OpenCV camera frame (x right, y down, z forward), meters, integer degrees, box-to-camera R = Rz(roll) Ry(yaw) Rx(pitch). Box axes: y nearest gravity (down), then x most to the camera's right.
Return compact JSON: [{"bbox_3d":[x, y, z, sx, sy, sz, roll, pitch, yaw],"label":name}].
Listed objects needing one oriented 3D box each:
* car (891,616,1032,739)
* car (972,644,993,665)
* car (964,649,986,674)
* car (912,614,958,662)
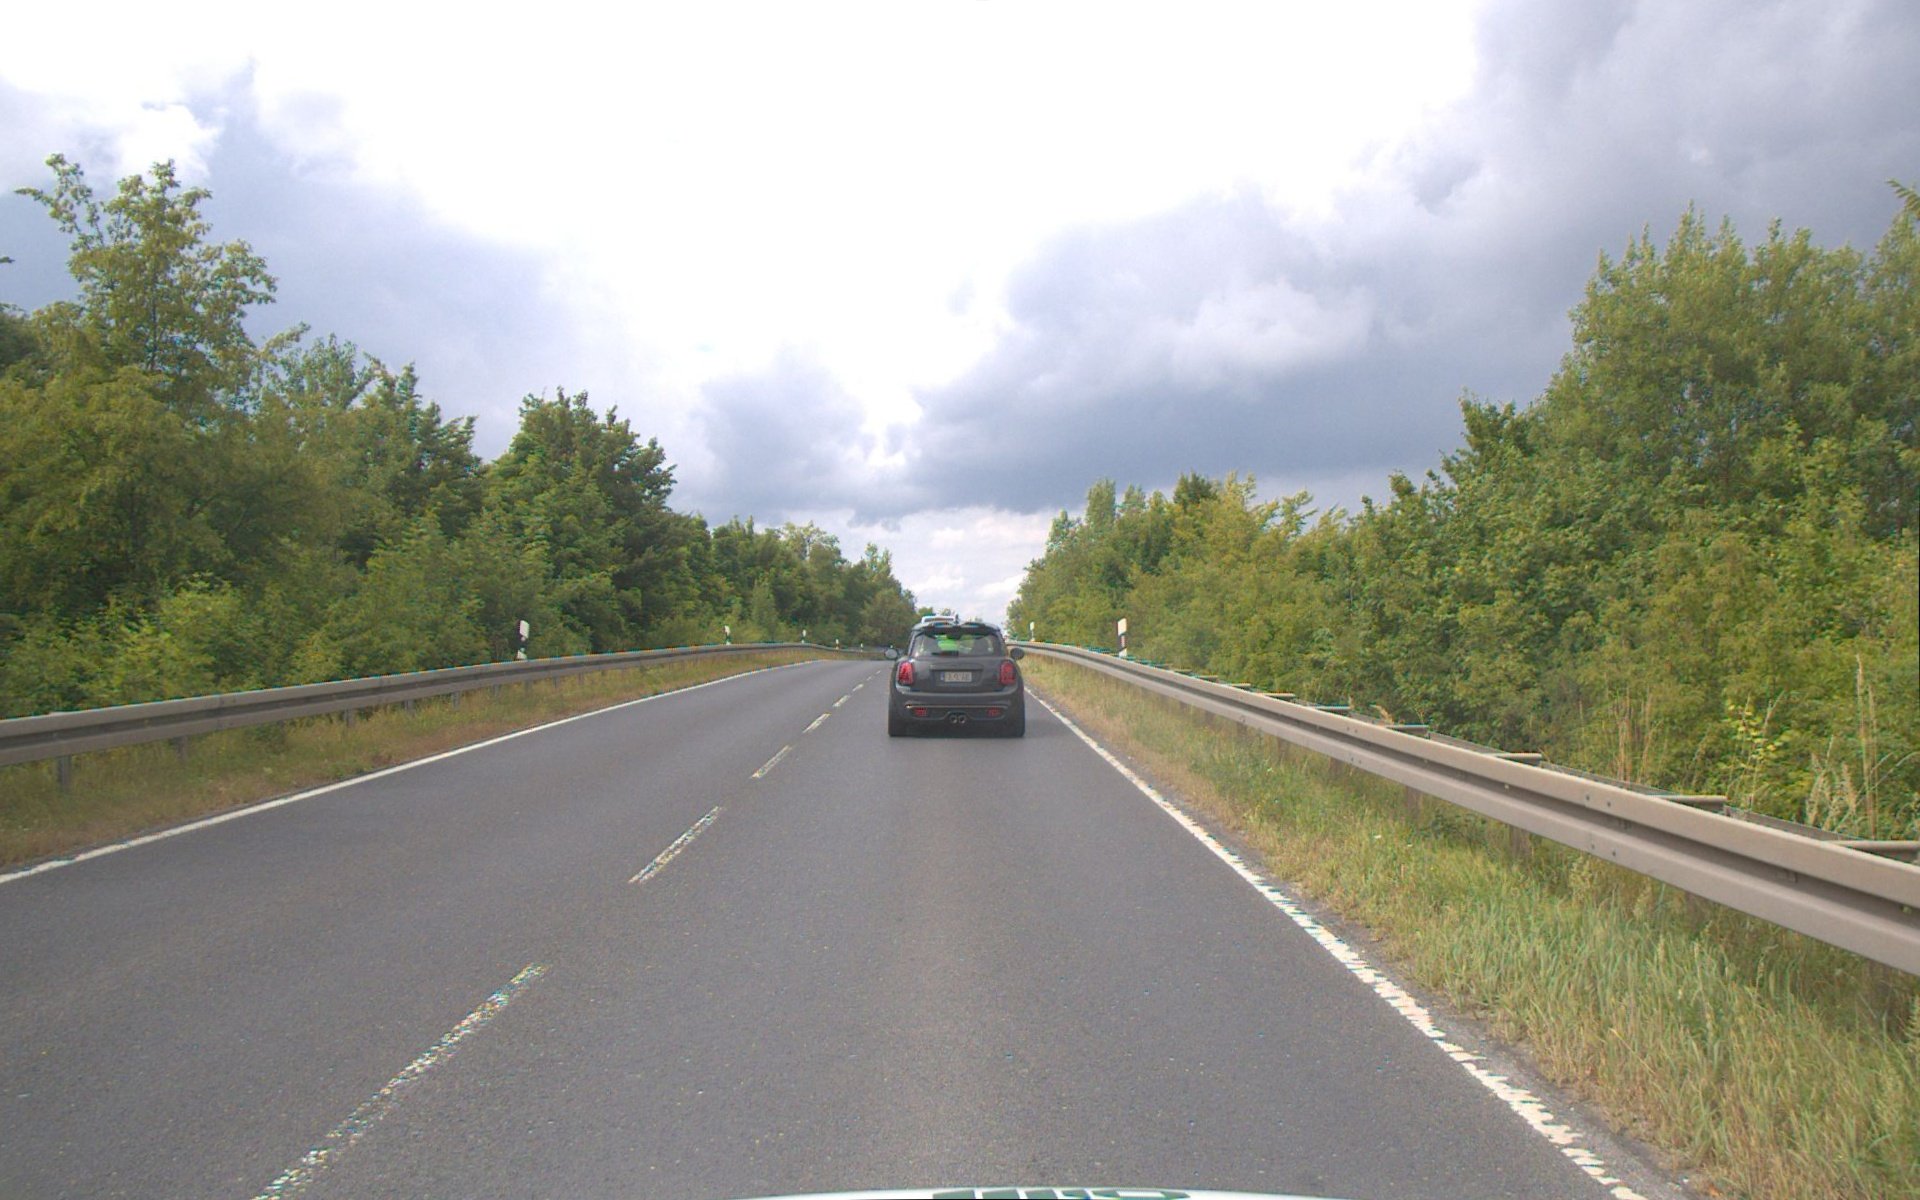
[{"bbox_3d":[0.024,0.966,21.976,1.696,1.481,4.000,0,-1,0],"label":"car"},{"bbox_3d":[2.288,5.539,169.754,1.952,2.049,4.002,0,-1,3],"label":"car"},{"bbox_3d":[1.335,5.436,147.126,1.952,2.049,4.000,0,-1,1],"label":"car"},{"bbox_3d":[-1.083,1.663,73.328,1.981,2.049,3.999,-1,-1,0],"label":"car"}]
